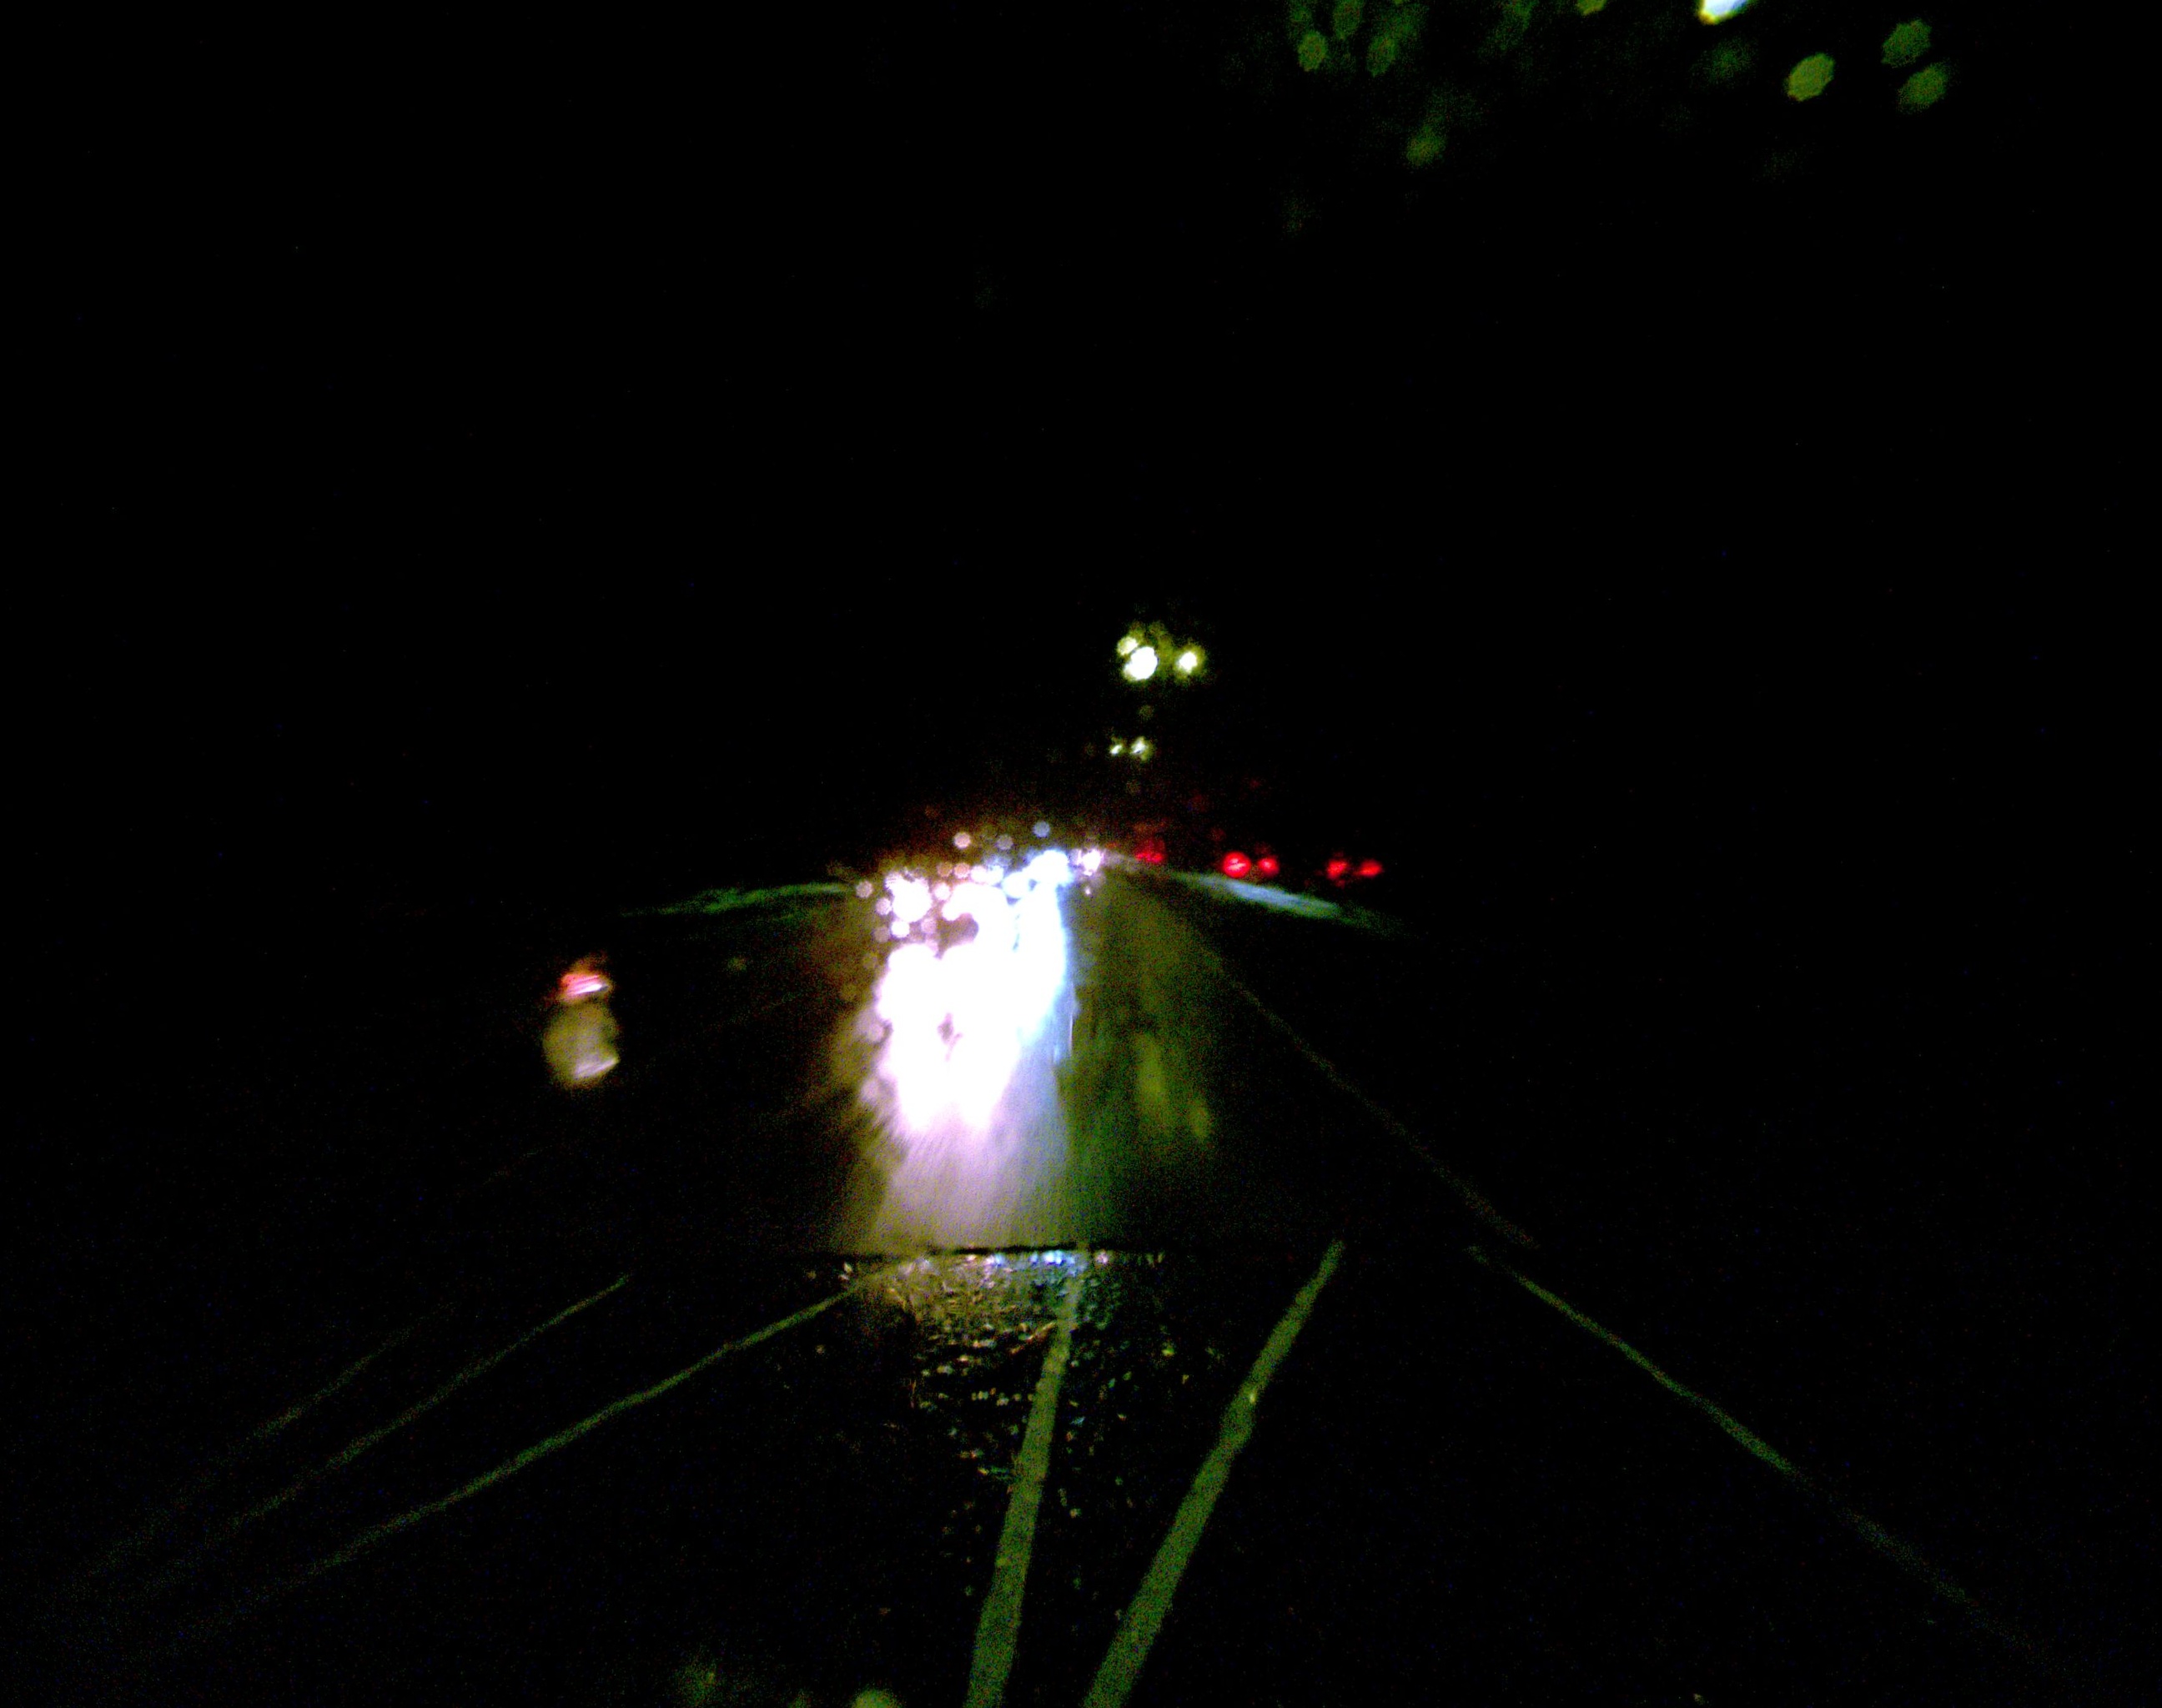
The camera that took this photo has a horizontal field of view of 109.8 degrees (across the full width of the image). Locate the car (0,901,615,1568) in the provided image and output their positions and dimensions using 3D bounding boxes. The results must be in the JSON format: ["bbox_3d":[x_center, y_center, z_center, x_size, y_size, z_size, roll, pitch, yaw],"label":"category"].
[{"bbox_3d":[-3.591,1.045,1.965,1.826,1.476,4.567,-2,1,1],"label":"car"}]

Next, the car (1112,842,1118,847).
[{"bbox_3d":[11.333,-3.294,255.427,1.788,1.638,3.999,-2,1,1],"label":"car"}]

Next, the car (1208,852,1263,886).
[{"bbox_3d":[7.007,0.633,34.839,1.614,1.374,4.746,-2,0,1],"label":"car"}]

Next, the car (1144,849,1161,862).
[{"bbox_3d":[8.979,0.163,95.988,1.756,1.543,4.009,-1,1,1],"label":"car"}]

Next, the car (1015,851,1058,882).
[{"bbox_3d":[-2.383,0.630,41.570,1.998,1.531,4.000,-1,0,1],"label":"car"}]

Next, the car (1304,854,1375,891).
[{"bbox_3d":[10.644,0.727,31.563,1.614,1.374,4.164,1,1,1],"label":"car"}]

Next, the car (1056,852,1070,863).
[{"bbox_3d":[-2.687,0.520,114.322,1.998,1.657,3.999,-1,1,0],"label":"car"}]

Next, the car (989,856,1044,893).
[{"bbox_3d":[-2.844,0.876,34.230,1.998,1.455,4.000,-1,0,1],"label":"car"}]

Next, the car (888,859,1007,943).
[{"bbox_3d":[-2.762,0.920,16.630,1.764,1.492,4.000,-2,1,1],"label":"car"}]
